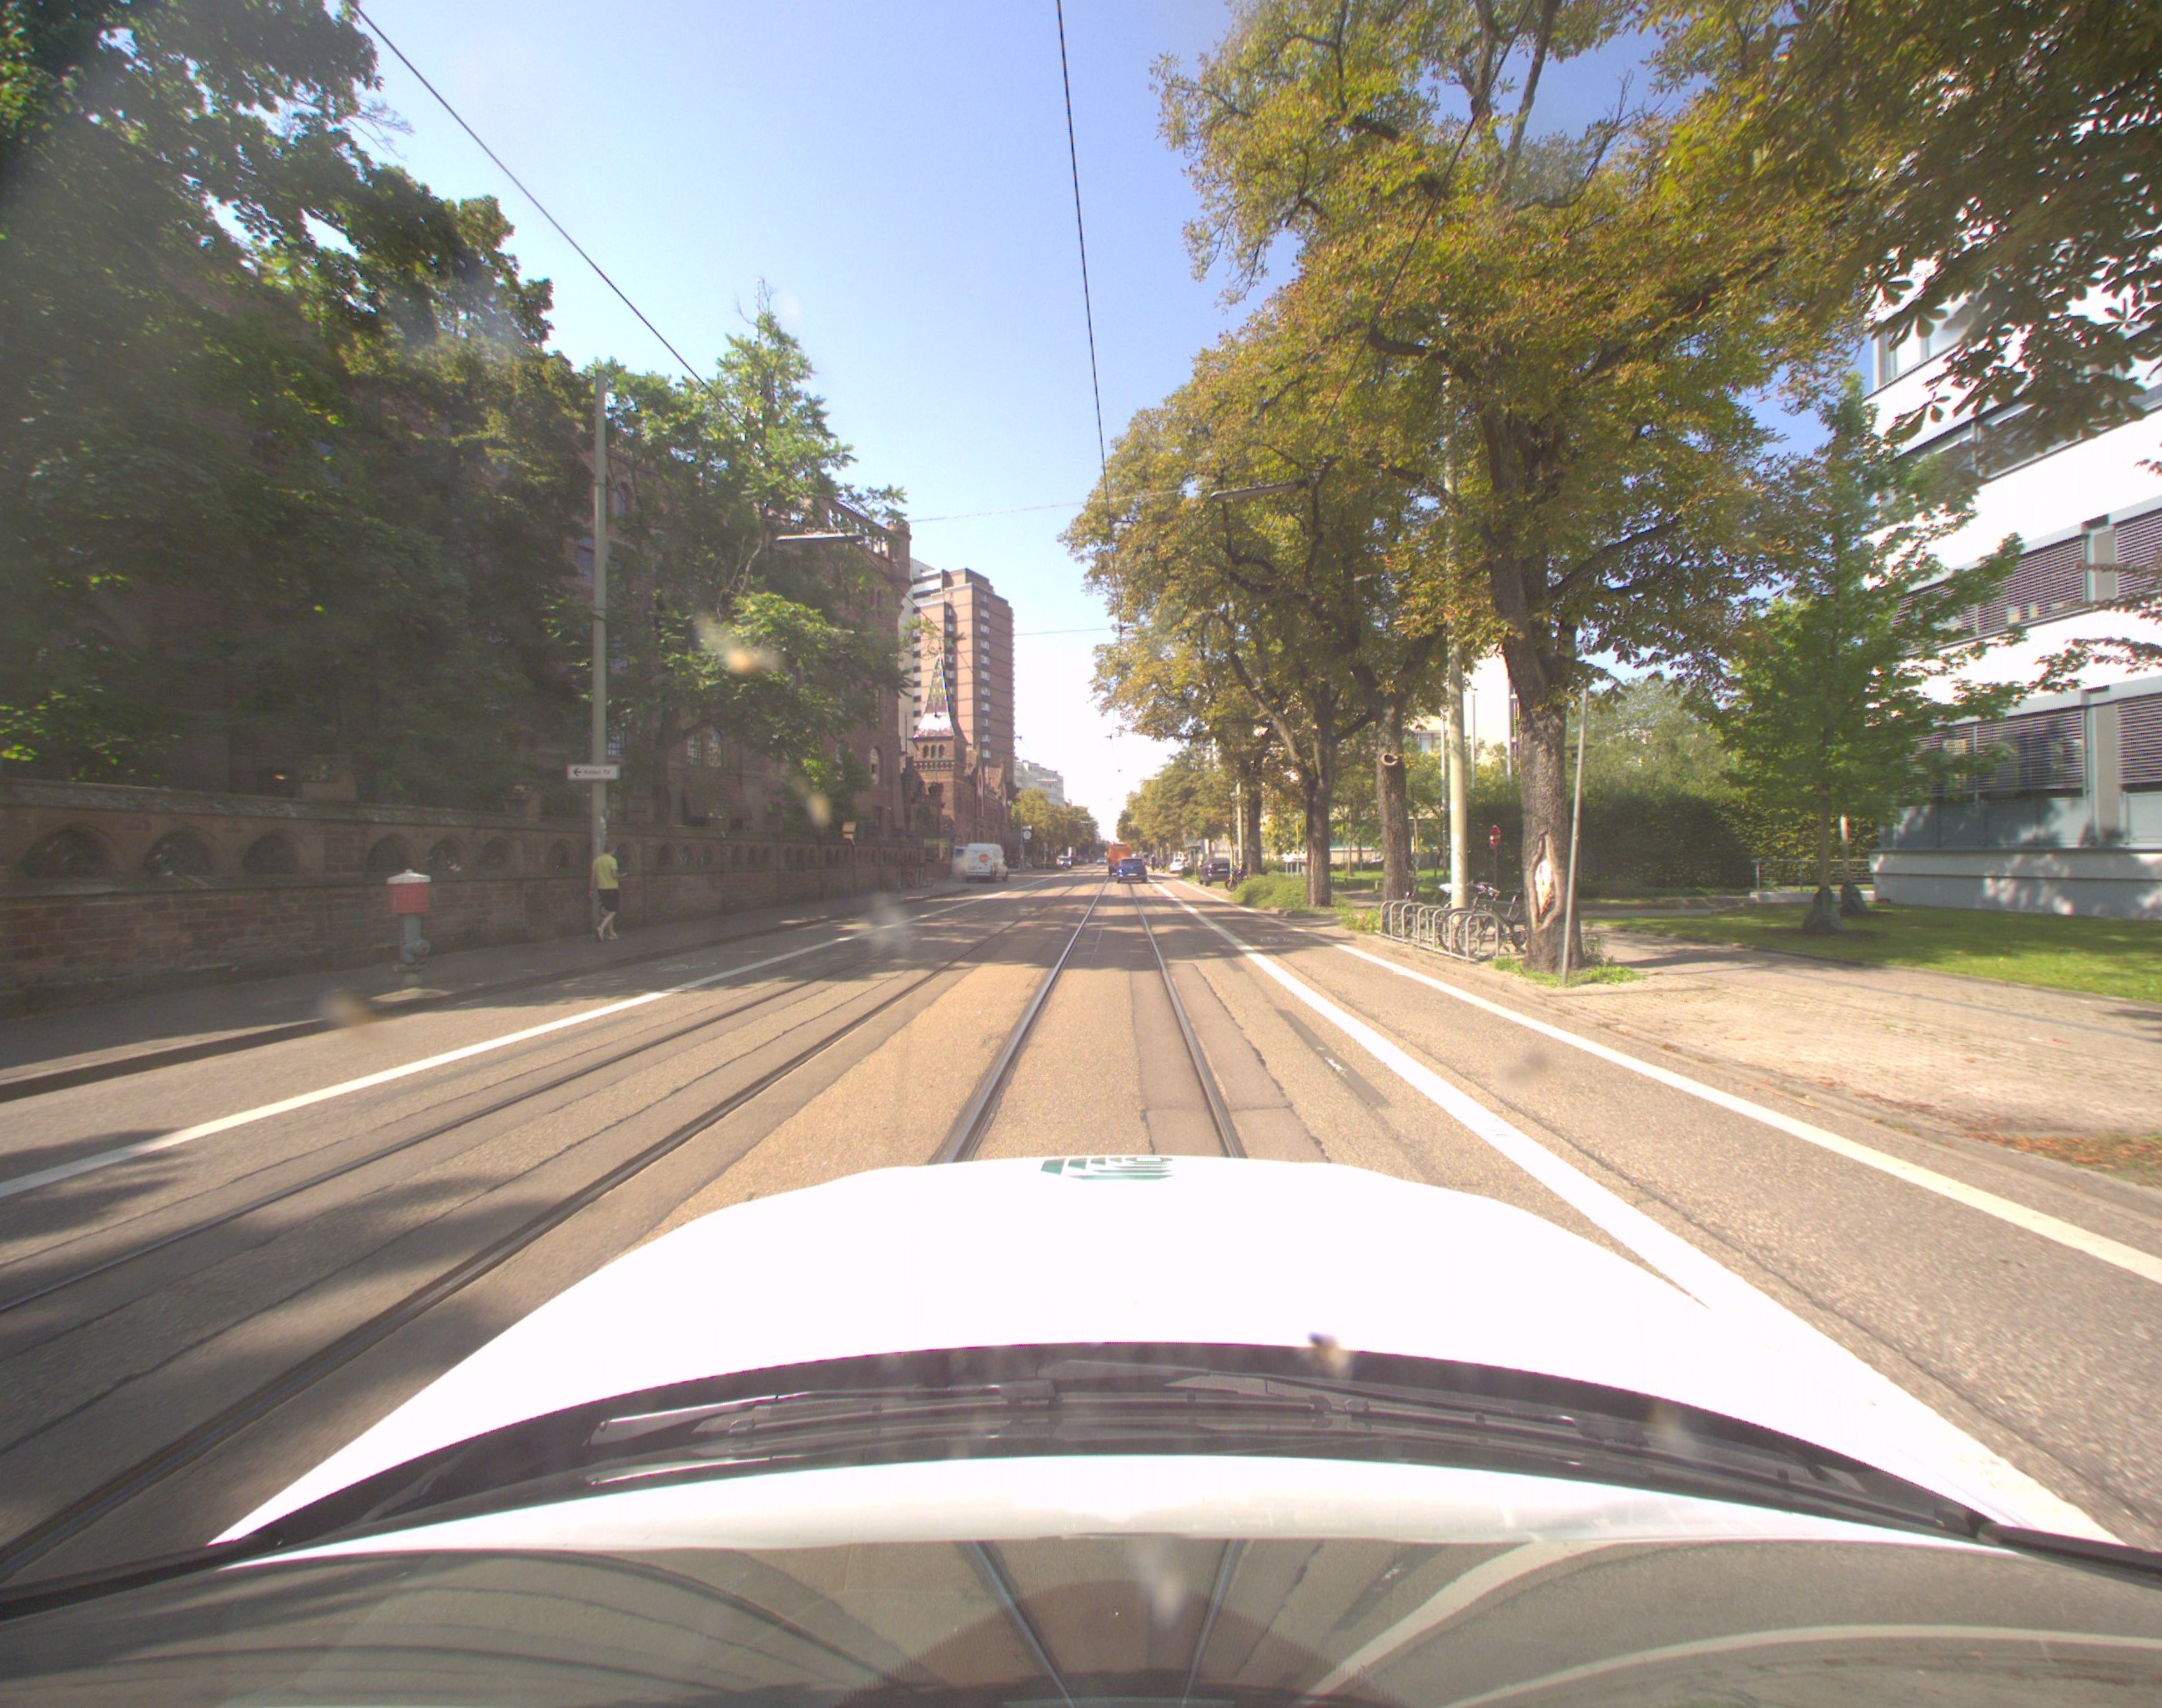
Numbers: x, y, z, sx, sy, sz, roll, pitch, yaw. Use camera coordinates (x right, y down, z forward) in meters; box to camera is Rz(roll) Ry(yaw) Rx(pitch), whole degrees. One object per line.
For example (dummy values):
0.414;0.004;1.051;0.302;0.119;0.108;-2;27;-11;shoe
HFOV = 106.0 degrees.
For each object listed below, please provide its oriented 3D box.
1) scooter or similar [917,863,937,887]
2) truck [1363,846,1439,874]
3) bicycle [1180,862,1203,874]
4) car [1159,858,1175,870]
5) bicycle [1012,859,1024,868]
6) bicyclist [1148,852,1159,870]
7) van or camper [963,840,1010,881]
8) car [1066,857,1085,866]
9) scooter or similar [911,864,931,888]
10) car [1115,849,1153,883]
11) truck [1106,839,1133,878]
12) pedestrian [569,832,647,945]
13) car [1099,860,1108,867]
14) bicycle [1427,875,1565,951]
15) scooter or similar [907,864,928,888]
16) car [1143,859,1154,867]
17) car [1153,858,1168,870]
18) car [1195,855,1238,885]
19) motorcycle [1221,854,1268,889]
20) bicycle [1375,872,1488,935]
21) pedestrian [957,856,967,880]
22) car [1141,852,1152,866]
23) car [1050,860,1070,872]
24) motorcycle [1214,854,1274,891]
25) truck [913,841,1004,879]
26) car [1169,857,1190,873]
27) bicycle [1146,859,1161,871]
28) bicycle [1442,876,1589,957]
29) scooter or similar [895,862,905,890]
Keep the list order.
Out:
-7.964;1.084;42.113;0.336;1.178;1.185;-1;-1;28;scooter or similar
26.932;0.500;68.702;5.482;2.326;2.301;0;0;4;truck
8.663;1.079;63.917;1.805;0.958;0.558;0;-1;2;bicycle
9.986;1.152;95.051;1.652;1.408;4.220;-1;-1;3;car
-8.026;1.237;103.563;1.447;1.093;0.399;3;-1;-2;bicycle
7.287;0.690;81.784;1.027;1.812;1.017;0;-1;2;bicyclist
-6.353;0.448;55.637;2.103;2.675;5.961;0;0;4;van or camper
-1.238;1.693;180.056;4.021;2.014;1.835;0;-1;-41;car
-8.035;1.079;40.980;0.336;1.178;1.185;-1;-1;28;scooter or similar
3.210;0.706;49.599;2.127;1.858;5.572;-1;0;3;car
3.300;0.399;68.912;2.127;3.124;6.089;-1;0;3;truck
-8.751;0.618;15.103;0.861;2.014;0.983;0;-1;0;pedestrian
4.708;1.980;169.575;1.839;1.492;4.871;-2;0;3;car
6.196;0.876;12.200;1.764;1.050;0.541;-2;0;1;bicycle
-8.003;1.073;39.805;0.336;1.178;1.185;-1;-1;28;scooter or similar
12.419;1.599;150.295;1.901;1.431;4.294;0;0;2;car
10.369;1.329;106.601;1.735;1.556;4.220;-1;-1;3;car
7.571;0.864;45.813;1.749;1.515;4.610;-2;0;1;car
7.371;0.784;36.843;0.853;1.516;2.437;0;0;-22;motorcycle
6.297;0.888;14.679;1.764;1.050;0.541;-2;0;1;bicycle
-7.911;0.917;54.138;0.495;1.599;0.553;0;-1;3;pedestrian
12.925;1.053;160.889;1.986;2.756;5.763;0;0;2;car
-3.195;1.844;123.859;1.753;1.796;3.971;0;-1;-21;car
7.023;0.778;35.153;2.424;1.516;0.858;-1;-1;41;motorcycle
-9.085;0.399;60.594;6.286;2.538;2.135;2;1;7;truck
9.244;1.027;76.672;1.652;1.481;4.220;-1;-1;3;car
7.256;1.071;81.806;1.396;1.134;4.003;-1;0;3;bicycle
6.119;0.873;11.524;1.764;1.050;0.541;-2;0;1;bicycle
-7.884;0.960;35.495;0.421;1.178;1.311;0;0;-13;scooter or similar
